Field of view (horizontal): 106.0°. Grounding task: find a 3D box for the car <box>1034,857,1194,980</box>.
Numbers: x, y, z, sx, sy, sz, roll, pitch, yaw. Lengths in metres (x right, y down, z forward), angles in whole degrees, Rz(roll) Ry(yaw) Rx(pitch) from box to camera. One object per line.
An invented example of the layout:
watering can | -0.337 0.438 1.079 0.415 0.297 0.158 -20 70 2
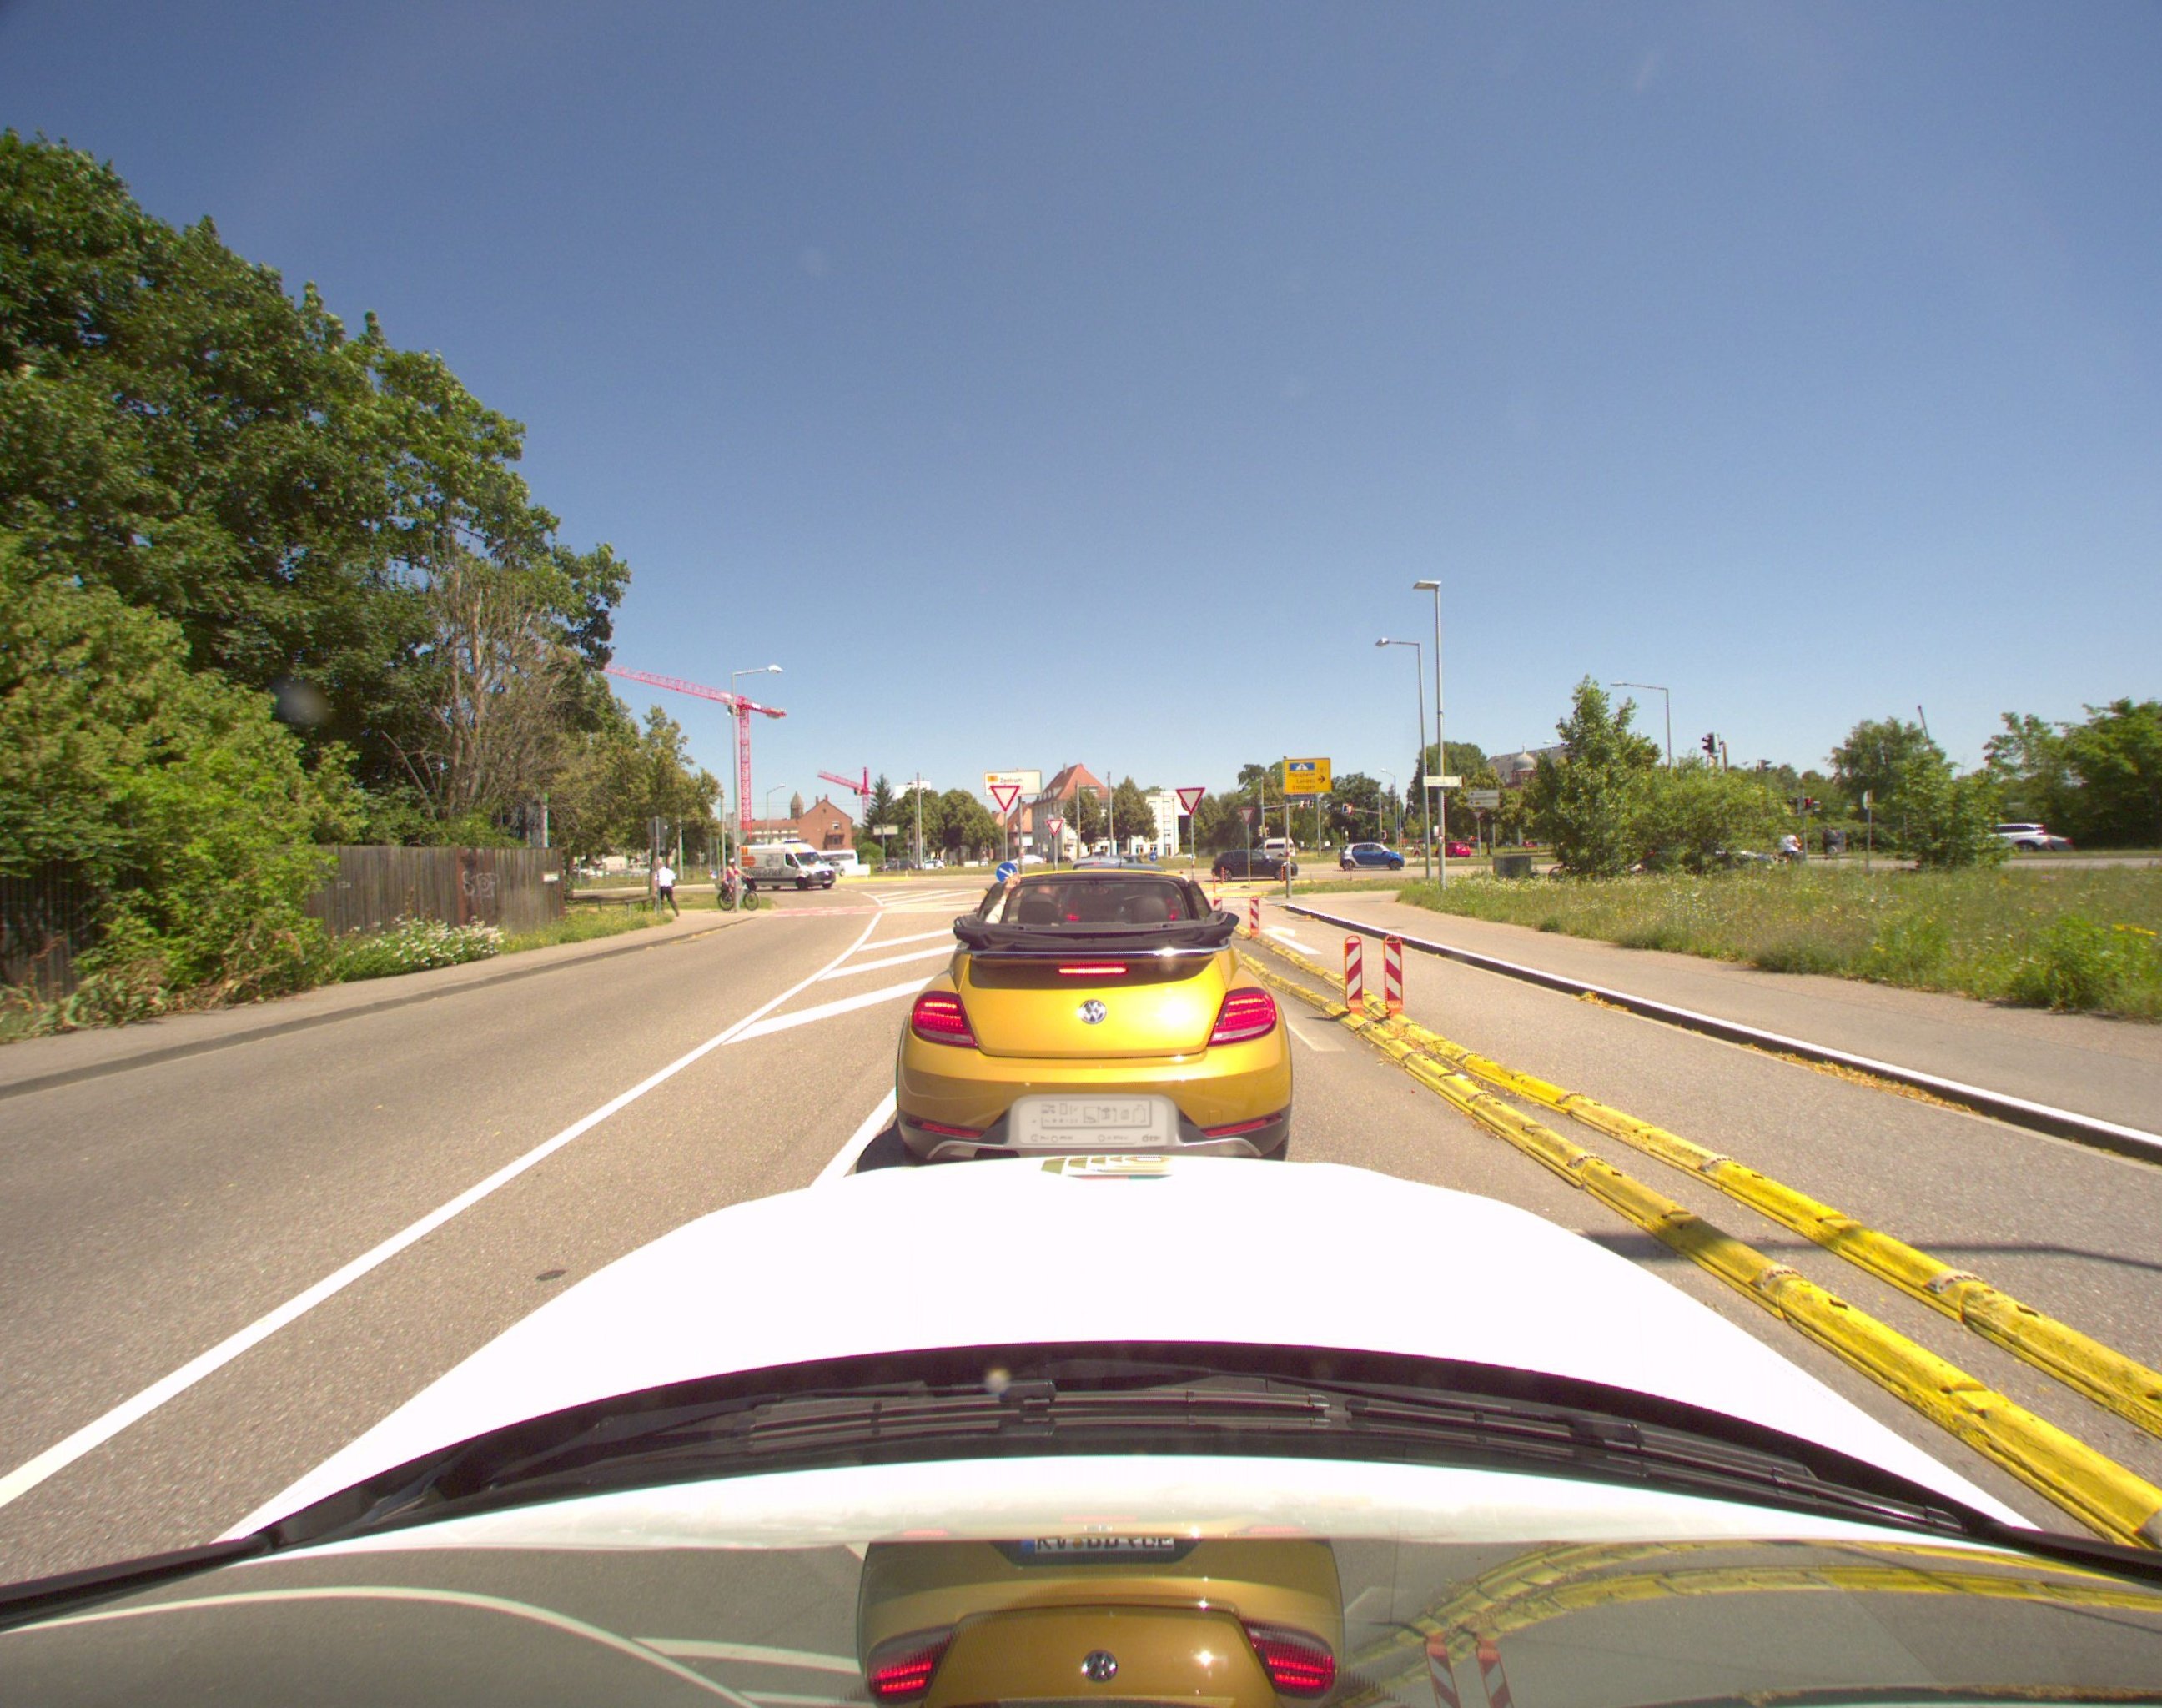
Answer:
car | 0.454 0.775 11.755 1.844 1.366 4.260 -2 0 2

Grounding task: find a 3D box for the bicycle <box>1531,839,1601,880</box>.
bicycle | 15.835 0.184 26.617 1.830 1.231 0.615 -3 -1 12

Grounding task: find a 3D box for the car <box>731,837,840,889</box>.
car | -16.955 0.511 46.552 6.796 2.828 2.012 -1 -1 30

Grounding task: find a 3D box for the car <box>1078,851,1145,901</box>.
car | 1.029 0.675 27.735 2.057 1.481 4.545 -2 0 2

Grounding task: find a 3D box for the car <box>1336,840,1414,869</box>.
car | 16.342 0.034 45.425 3.957 1.552 1.735 -1 -1 15

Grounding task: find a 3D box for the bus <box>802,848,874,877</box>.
bus | -27.108 0.959 91.016 7.308 3.172 2.236 0 -1 -36

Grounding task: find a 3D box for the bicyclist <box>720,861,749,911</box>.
bicyclist | -12.496 1.153 29.386 0.664 1.753 0.595 -3 -1 20

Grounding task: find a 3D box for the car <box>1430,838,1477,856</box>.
car | 35.493 -0.670 77.724 1.896 1.654 4.328 0 -1 -12

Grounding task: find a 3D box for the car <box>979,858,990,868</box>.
car | -16.883 1.564 142.360 1.751 1.794 3.993 0 -1 -4

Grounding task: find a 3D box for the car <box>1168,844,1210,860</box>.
car | 14.360 -0.241 108.305 5.266 1.962 2.004 -1 -1 20

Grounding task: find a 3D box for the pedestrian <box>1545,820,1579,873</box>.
pedestrian | 15.736 -0.250 26.644 0.728 1.691 0.577 -3 -1 11

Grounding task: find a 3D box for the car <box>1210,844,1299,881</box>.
car | 8.143 0.385 38.452 3.964 1.551 1.732 -2 2 8

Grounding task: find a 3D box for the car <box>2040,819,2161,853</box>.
car | 51.383 -0.874 40.616 4.389 1.592 1.860 -1 -1 43

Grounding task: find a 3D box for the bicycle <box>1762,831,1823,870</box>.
bicycle | 25.838 -0.115 29.554 2.902 1.353 0.635 0 -1 -28

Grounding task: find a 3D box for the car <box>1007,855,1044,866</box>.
car | -6.827 0.818 99.890 4.330 1.371 1.741 0 -1 -19

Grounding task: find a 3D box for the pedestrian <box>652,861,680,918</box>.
pedestrian | -13.328 1.122 26.163 0.641 1.786 0.958 0 -1 -37

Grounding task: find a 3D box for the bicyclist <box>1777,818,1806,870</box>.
bicyclist | 25.756 -0.363 29.522 0.573 1.841 0.603 0 -1 -29

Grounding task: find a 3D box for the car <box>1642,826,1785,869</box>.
car | 26.246 -0.257 34.002 4.364 1.595 2.012 -2 1 27

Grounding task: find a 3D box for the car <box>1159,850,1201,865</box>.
car | 13.160 0.440 108.666 5.268 1.962 2.003 -1 -1 17

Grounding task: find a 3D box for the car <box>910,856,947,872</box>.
car | -18.202 1.191 97.212 4.019 1.772 1.766 0 -1 -38

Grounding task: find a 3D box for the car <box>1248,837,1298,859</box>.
car | 22.078 -0.696 93.855 5.262 2.397 2.006 -1 -1 45

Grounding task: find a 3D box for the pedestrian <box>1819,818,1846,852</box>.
pedestrian | 37.897 -0.955 41.061 0.959 1.660 0.892 -1 -1 44

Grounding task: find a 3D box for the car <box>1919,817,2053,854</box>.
car | 45.907 -0.880 41.482 4.389 1.736 1.860 -1 -1 43

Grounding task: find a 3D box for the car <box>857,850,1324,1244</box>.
car | 0.098 0.748 5.209 1.758 1.481 4.259 0 0 2

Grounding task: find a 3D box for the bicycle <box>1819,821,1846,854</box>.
bicycle | 37.996 -0.827 41.170 0.972 1.597 2.900 -1 -1 43

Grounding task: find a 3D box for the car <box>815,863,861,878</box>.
car | -23.457 1.556 78.618 1.711 1.402 4.297 -1 -1 29

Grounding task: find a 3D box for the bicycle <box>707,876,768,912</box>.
bicycle | -12.399 1.434 29.358 2.075 1.221 0.637 -2 0 18

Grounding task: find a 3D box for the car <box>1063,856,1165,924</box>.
car | 0.744 0.746 18.701 2.057 1.382 4.259 0 0 2
